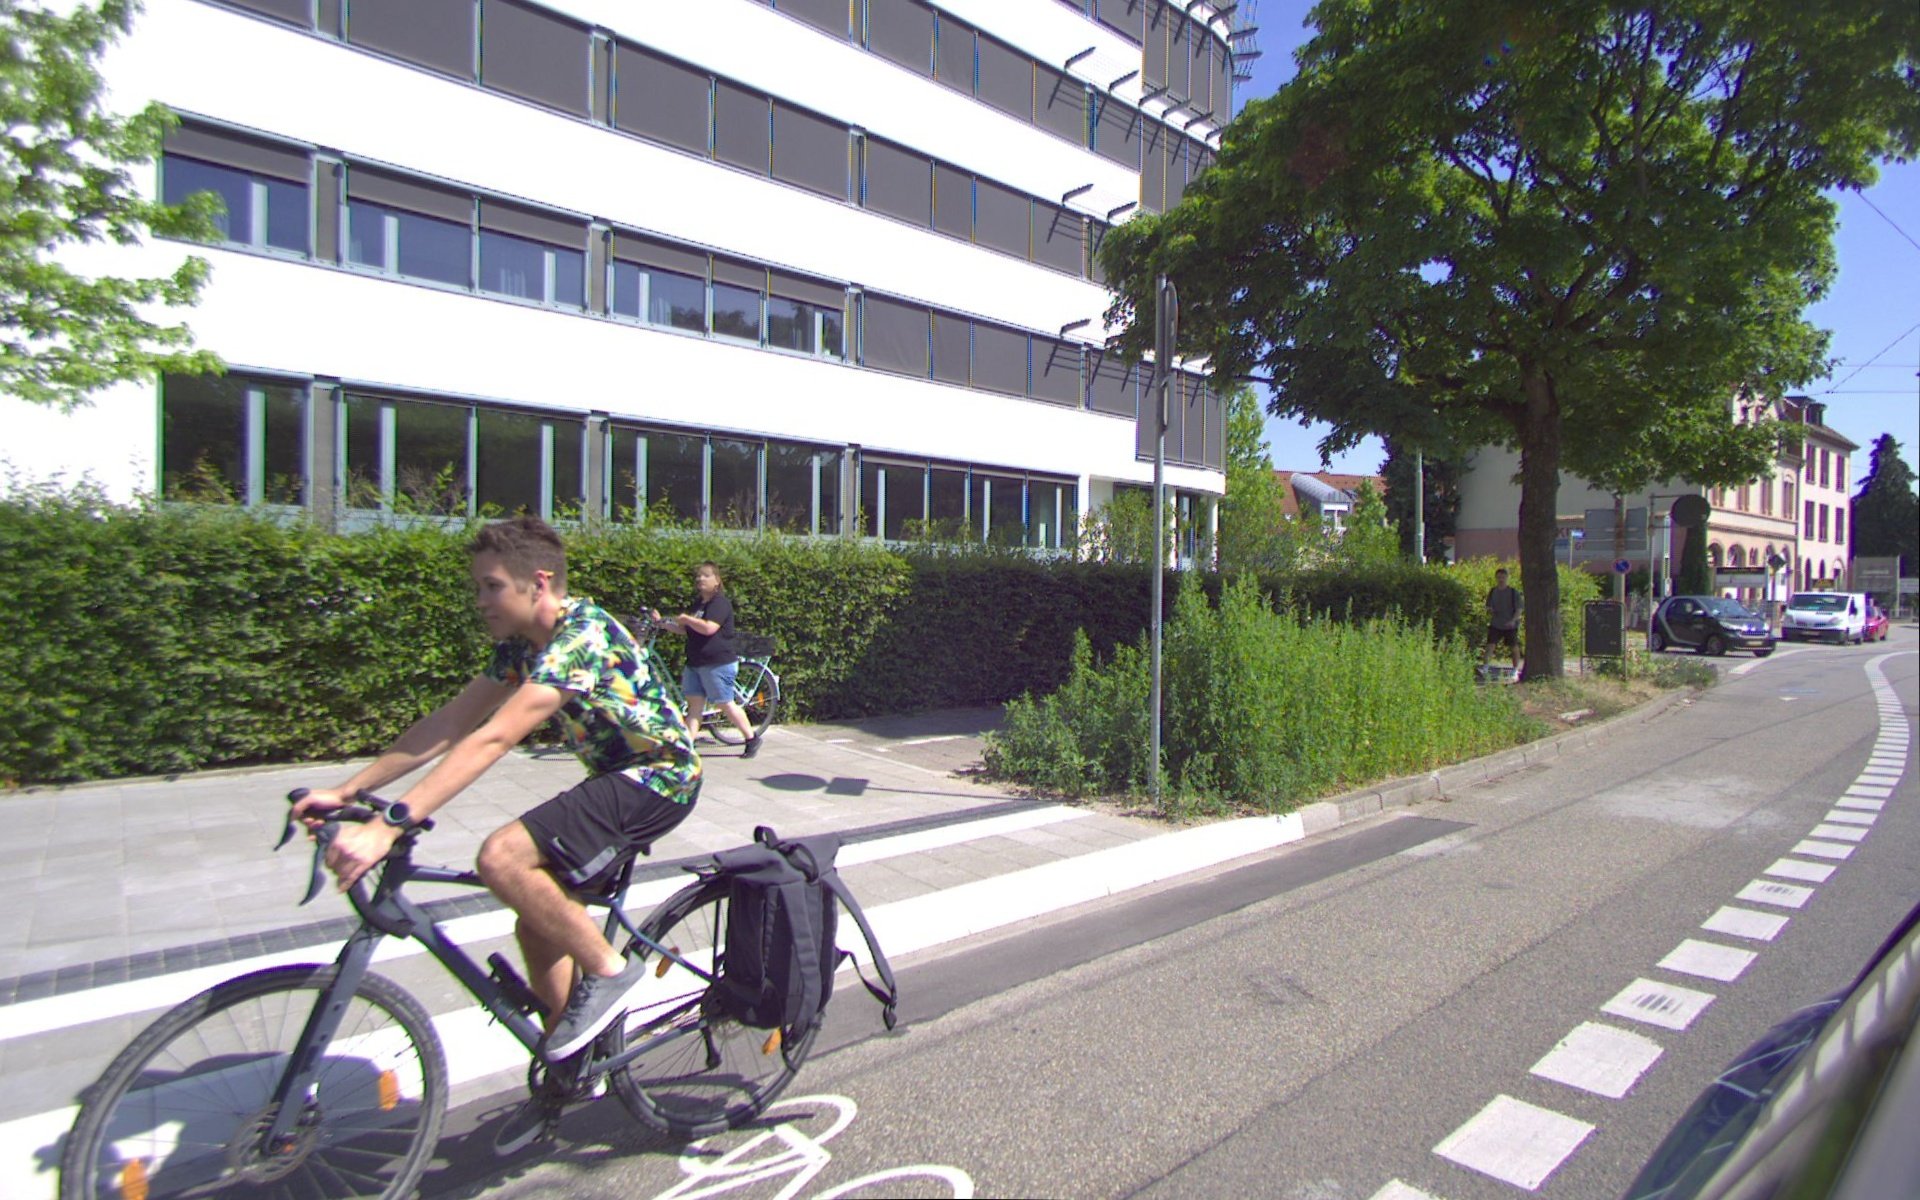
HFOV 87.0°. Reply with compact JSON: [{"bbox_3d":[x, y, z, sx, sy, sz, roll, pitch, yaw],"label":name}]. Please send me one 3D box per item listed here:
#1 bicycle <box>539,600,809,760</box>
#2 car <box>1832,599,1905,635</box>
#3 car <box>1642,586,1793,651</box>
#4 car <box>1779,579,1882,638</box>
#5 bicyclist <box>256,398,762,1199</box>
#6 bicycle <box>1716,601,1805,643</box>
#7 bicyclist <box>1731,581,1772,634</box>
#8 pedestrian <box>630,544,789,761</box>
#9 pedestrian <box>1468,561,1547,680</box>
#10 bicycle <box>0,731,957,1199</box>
[{"bbox_3d":[-2.259,0.576,8.193,2.031,1.131,0.637,0,1,-42],"label":"bicycle"},{"bbox_3d":[37.477,0.666,41.725,3.930,1.424,1.723,0,1,-40],"label":"car"},{"bbox_3d":[19.824,0.439,26.633,1.449,1.558,2.981,1,1,-8],"label":"car"},{"bbox_3d":[32.672,0.299,37.941,4.819,2.038,2.089,0,2,-39],"label":"car"},{"bbox_3d":[-1.098,0.491,2.477,0.970,1.746,0.718,1,0,-39],"label":"bicyclist"},{"bbox_3d":[24.573,0.660,31.119,2.113,1.212,0.603,1,1,39],"label":"bicycle"},{"bbox_3d":[24.422,0.216,31.237,0.959,1.615,0.894,1,1,38],"label":"bicyclist"},{"bbox_3d":[-1.972,0.370,7.991,0.686,1.582,0.972,3,2,45],"label":"pedestrian"},{"bbox_3d":[8.855,0.305,16.364,0.889,1.841,1.057,1,0,43],"label":"pedestrian"},{"bbox_3d":[-1.010,0.950,2.549,2.126,0.996,0.609,0,0,-41],"label":"bicycle"}]
